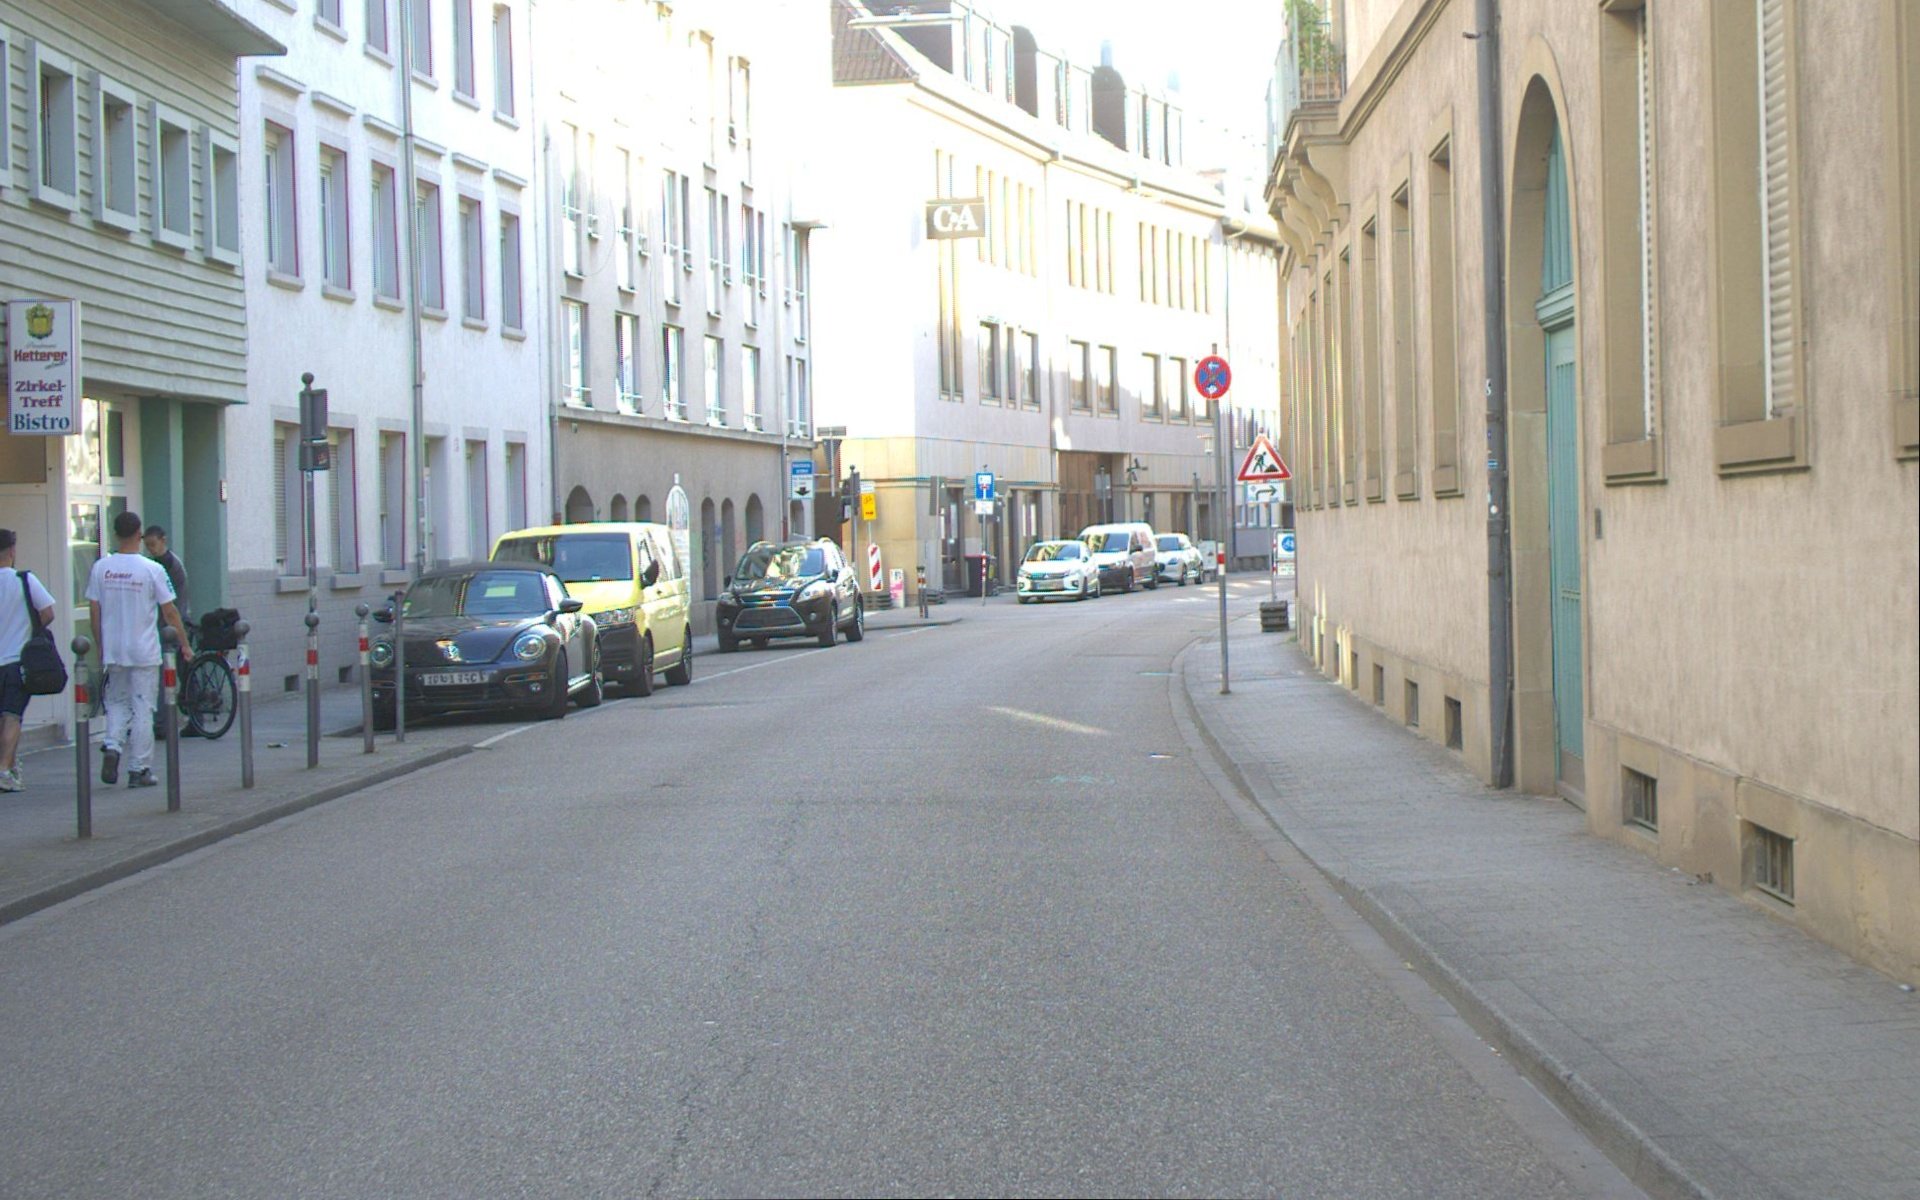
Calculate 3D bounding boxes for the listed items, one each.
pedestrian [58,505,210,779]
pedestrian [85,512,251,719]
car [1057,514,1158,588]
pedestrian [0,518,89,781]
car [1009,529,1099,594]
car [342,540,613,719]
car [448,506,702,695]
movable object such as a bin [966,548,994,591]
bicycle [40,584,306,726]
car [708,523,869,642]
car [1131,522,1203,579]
[{"bbox_3d":[-5.387,0.263,22.461,0.698,1.728,0.829,-2,1,2],"label":"pedestrian"},{"bbox_3d":[-6.742,0.124,29.292,1.079,1.722,0.801,-1,1,25],"label":"pedestrian"},{"bbox_3d":[3.926,-1.313,90.663,1.671,1.812,4.549,-2,1,14],"label":"car"},{"bbox_3d":[-6.156,0.314,22.347,0.672,1.664,0.894,-2,1,2],"label":"pedestrian"},{"bbox_3d":[2.351,-0.968,84.986,1.671,1.501,3.792,-2,1,10],"label":"car"},{"bbox_3d":[-4.523,0.232,32.789,1.819,1.481,4.076,-4,1,2],"label":"car"},{"bbox_3d":[-4.196,-0.046,38.251,1.880,1.860,4.863,-4,1,4],"label":"car"},{"bbox_3d":[0.501,-0.767,86.462,0.609,1.057,0.713,1,1,6],"label":"movable object such as a bin"},{"bbox_3d":[-6.706,0.464,29.284,2.131,1.159,0.822,-1,1,25],"label":"bicycle"},{"bbox_3d":[-2.684,-0.318,54.776,1.740,1.705,4.189,-3,1,8],"label":"car"},{"bbox_3d":[5.826,-1.399,96.616,1.272,1.501,3.399,-2,1,15],"label":"car"}]
